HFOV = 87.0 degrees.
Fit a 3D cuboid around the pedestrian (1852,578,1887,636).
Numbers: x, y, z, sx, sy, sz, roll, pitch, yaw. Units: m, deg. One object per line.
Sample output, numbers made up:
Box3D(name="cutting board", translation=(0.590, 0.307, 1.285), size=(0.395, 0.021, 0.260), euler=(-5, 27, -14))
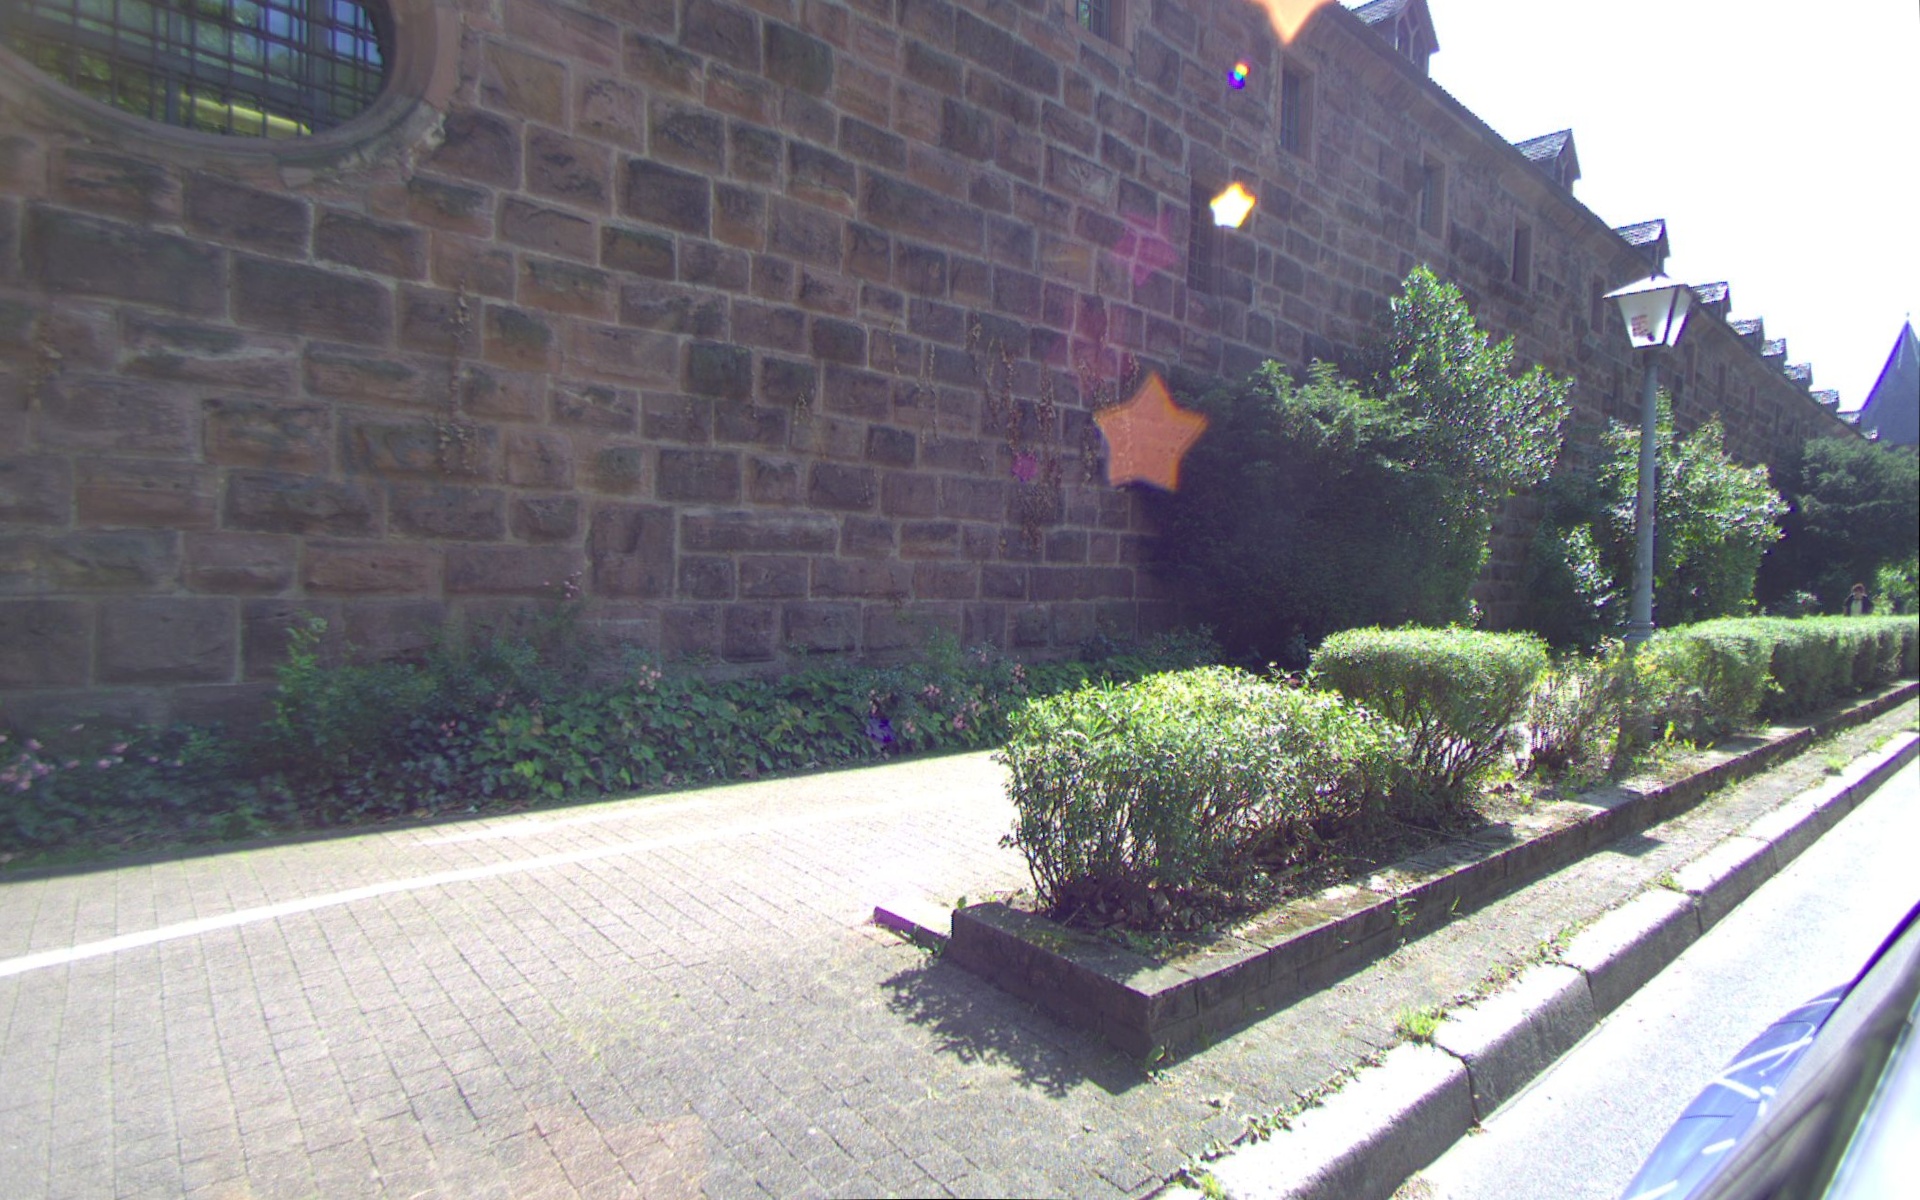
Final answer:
Box3D(name="pedestrian", translation=(24.948, 0.187, 27.749), size=(0.554, 1.583, 0.642), euler=(0, 0, -41))
